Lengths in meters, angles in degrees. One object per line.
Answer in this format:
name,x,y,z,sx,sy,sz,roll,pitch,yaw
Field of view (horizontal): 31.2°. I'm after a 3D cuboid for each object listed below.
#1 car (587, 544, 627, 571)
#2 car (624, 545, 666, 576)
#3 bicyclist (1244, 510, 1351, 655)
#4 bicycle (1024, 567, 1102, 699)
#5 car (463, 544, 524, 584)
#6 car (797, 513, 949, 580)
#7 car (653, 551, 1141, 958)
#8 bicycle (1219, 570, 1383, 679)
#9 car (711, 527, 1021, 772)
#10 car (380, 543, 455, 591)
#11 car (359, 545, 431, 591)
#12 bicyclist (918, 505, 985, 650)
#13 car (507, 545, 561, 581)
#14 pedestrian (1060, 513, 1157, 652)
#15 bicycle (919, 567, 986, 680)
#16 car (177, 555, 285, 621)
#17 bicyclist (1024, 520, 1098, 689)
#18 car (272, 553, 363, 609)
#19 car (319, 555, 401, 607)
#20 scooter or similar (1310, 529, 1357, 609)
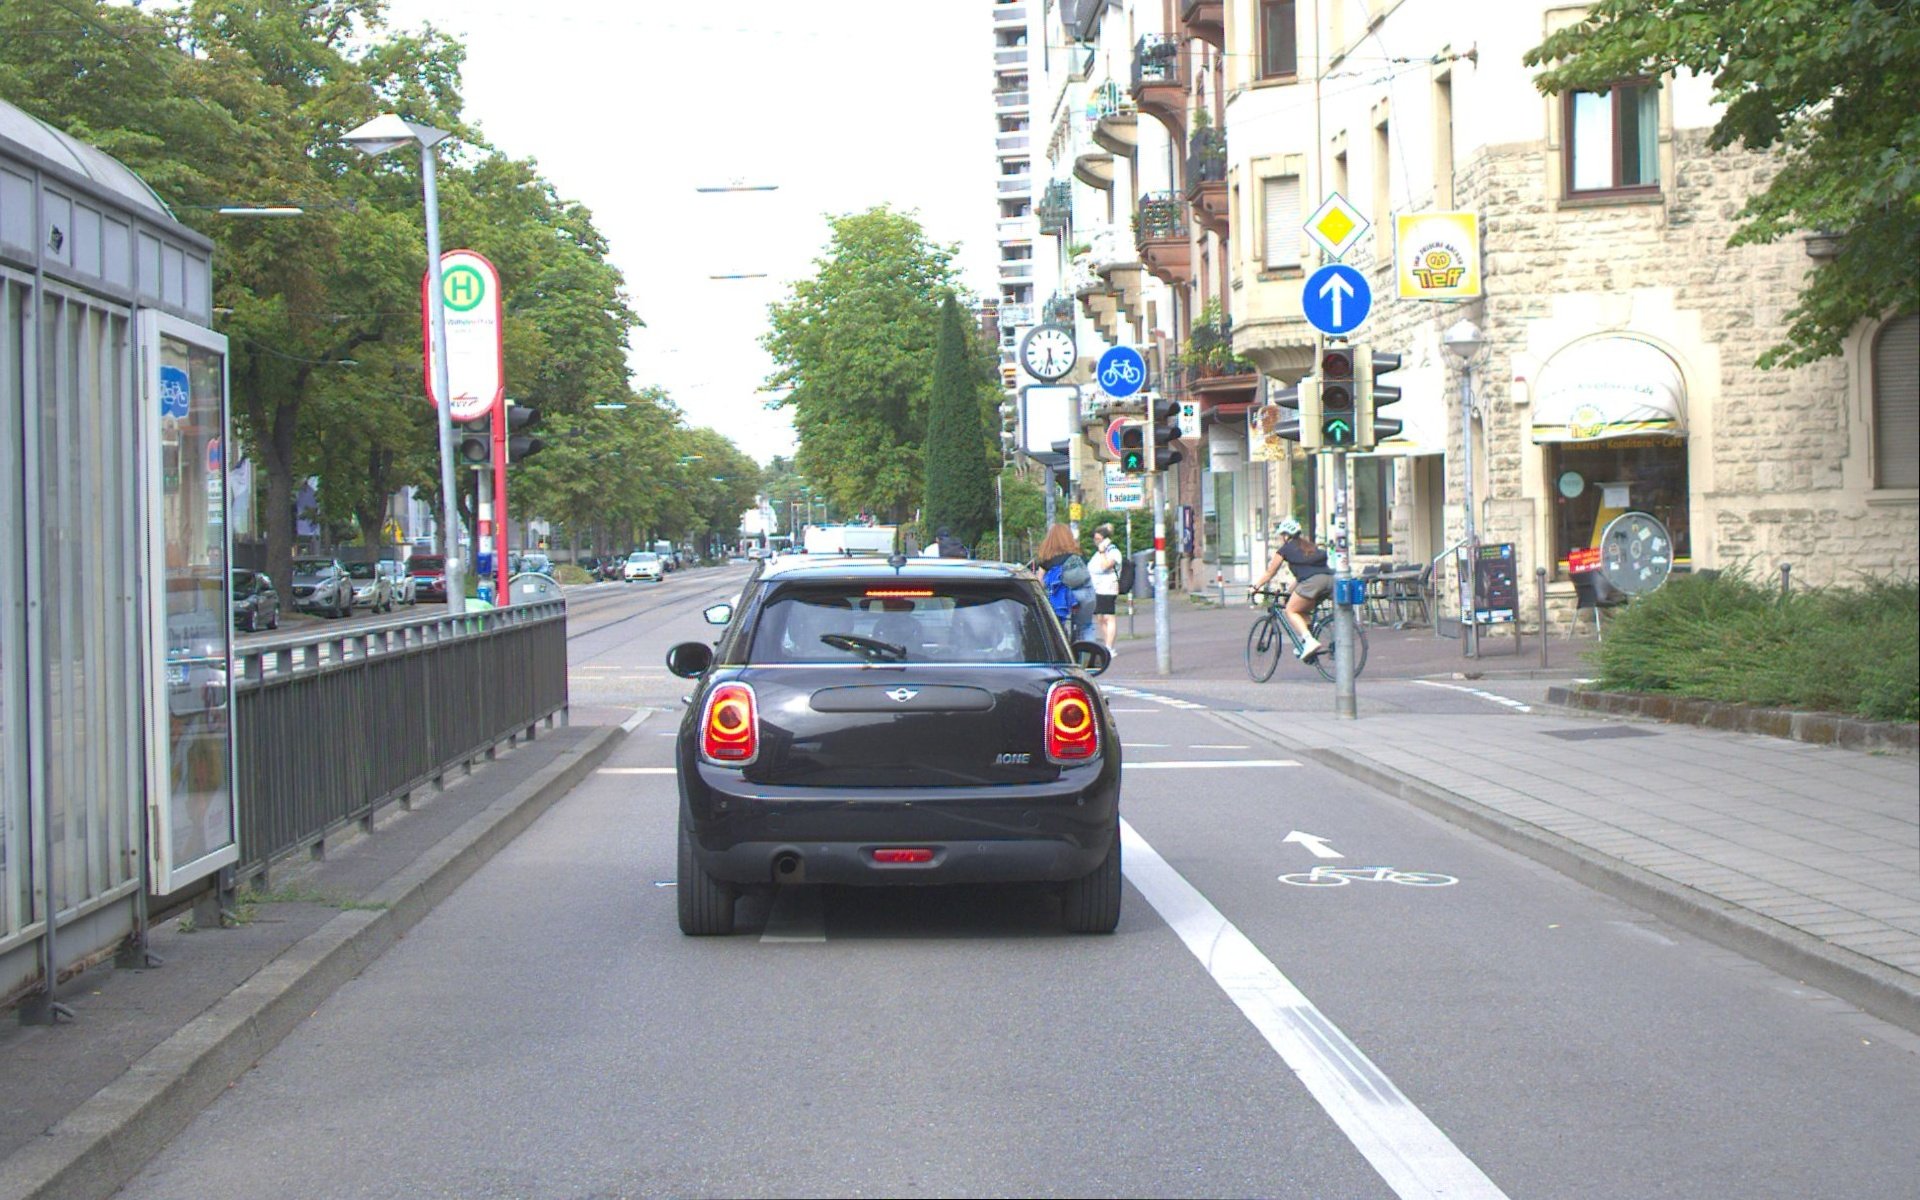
car,-20.914,-2.511,203.618,1.993,1.546,4.000,-2,1,-1
car,-15.142,-1.919,165.436,1.766,1.390,4.001,-2,1,-2
bicyclist,3.495,-0.182,35.630,0.615,1.467,0.915,-3,1,-36
bicycle,0.955,0.295,32.228,0.598,1.166,1.697,-2,1,-1
car,-19.068,-1.479,140.716,1.993,1.546,4.000,-2,1,-1
car,-3.113,-1.946,123.621,5.025,2.265,2.396,-2,1,-42
car,-0.263,0.529,14.374,1.751,1.436,4.000,0,1,-1
bicycle,3.522,0.244,35.621,0.615,1.073,1.820,-3,2,-36
car,-0.698,0.280,23.871,1.926,1.504,4.001,-2,1,-3
car,-18.558,-1.142,117.751,1.993,1.546,4.000,-2,1,-1
car,-17.948,-1.026,109.362,1.766,1.390,4.001,-2,1,-2
bicyclist,-0.089,-0.260,37.897,0.684,1.558,0.998,-2,1,0
car,-19.434,-1.717,156.946,1.993,1.546,4.000,-2,1,-1
pedestrian,1.875,-0.218,43.388,0.833,1.668,0.732,-6,2,-45
bicycle,-0.072,0.243,37.841,0.684,1.166,1.697,-2,1,0
car,-16.727,-0.295,79.038,1.766,1.390,4.001,-2,1,-2
bicyclist,0.940,0.028,32.219,0.594,1.545,1.014,-2,1,-1
car,-16.996,-0.529,91.060,1.766,1.390,4.001,-2,1,-2
car,-17.205,-0.571,98.732,1.766,1.390,4.001,-2,1,-2
scooter or similar,5.688,-0.473,52.380,0.508,1.184,1.262,-2,1,-1
